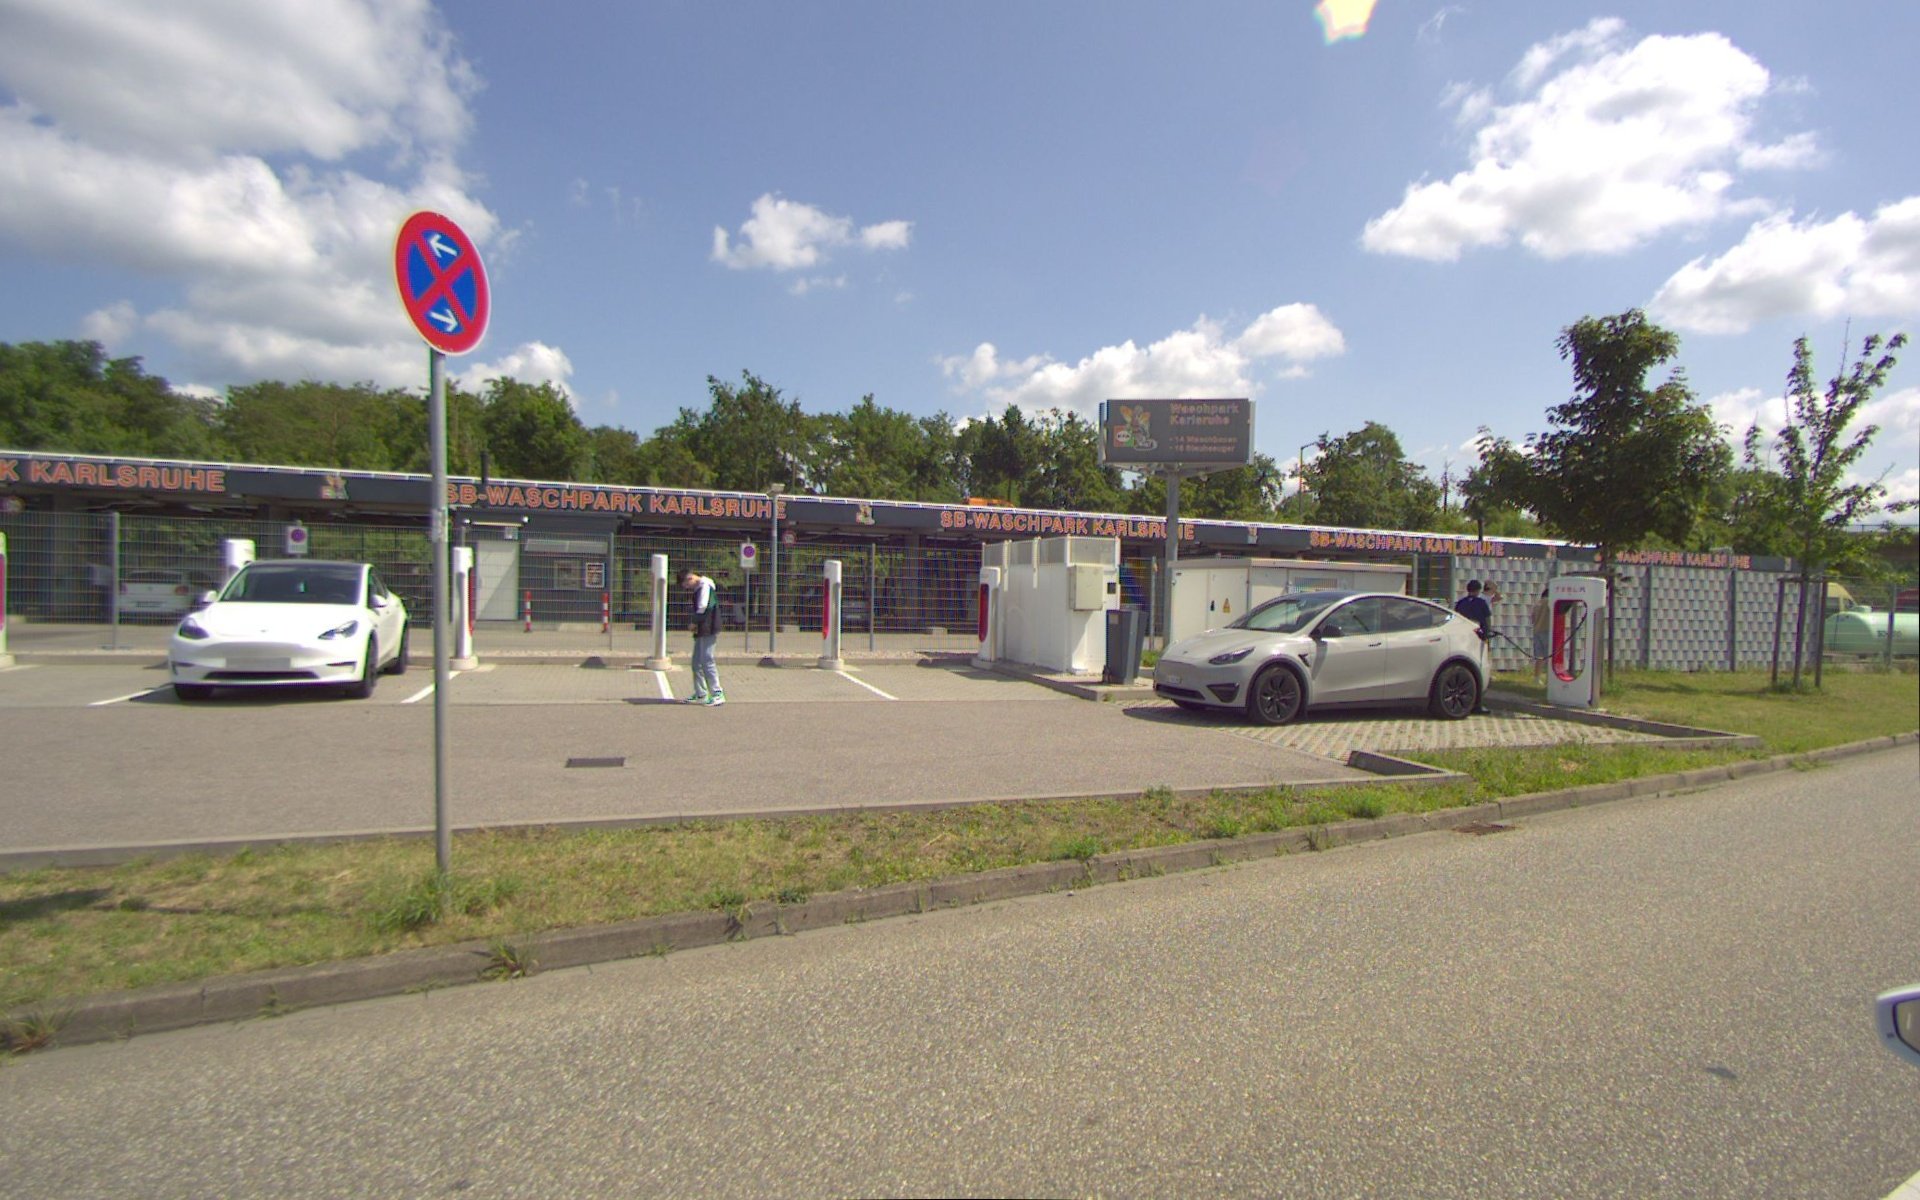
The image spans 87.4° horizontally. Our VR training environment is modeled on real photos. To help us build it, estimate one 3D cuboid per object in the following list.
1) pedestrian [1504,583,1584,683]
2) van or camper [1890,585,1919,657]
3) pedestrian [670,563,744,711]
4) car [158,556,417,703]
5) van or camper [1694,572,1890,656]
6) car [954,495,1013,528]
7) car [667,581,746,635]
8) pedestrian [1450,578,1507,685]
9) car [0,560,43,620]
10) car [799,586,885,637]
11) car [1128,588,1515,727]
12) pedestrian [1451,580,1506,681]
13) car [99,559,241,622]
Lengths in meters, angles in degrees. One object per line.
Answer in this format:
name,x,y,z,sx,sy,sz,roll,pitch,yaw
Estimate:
pedestrian,9.436,0.524,16.251,0.803,1.562,0.737,2,0,-19
van or camper,36.122,0.771,37.113,5.661,2.547,2.168,1,-2,-43
pedestrian,-3.176,0.440,12.570,0.717,1.775,0.860,1,1,-24
car,-8.421,0.282,13.051,1.972,1.545,4.539,2,1,-24
van or camper,26.630,0.471,32.183,5.572,2.458,2.240,2,0,-19
car,1.732,-6.624,75.481,3.941,2.040,1.990,2,0,-21
car,-8.222,0.241,32.349,1.971,1.583,3.980,2,0,-21
pedestrian,8.028,0.480,15.585,0.708,1.600,0.713,2,0,24
car,-26.256,-0.296,26.279,1.971,1.583,3.980,2,0,-21
car,-4.096,0.366,34.392,1.971,1.583,3.980,2,0,-21
car,4.752,0.638,13.228,4.704,1.538,1.927,0,2,-22
pedestrian,8.377,0.481,16.257,0.700,1.586,0.758,2,0,24
car,-21.720,-0.250,27.823,1.971,1.583,3.980,2,0,-21
